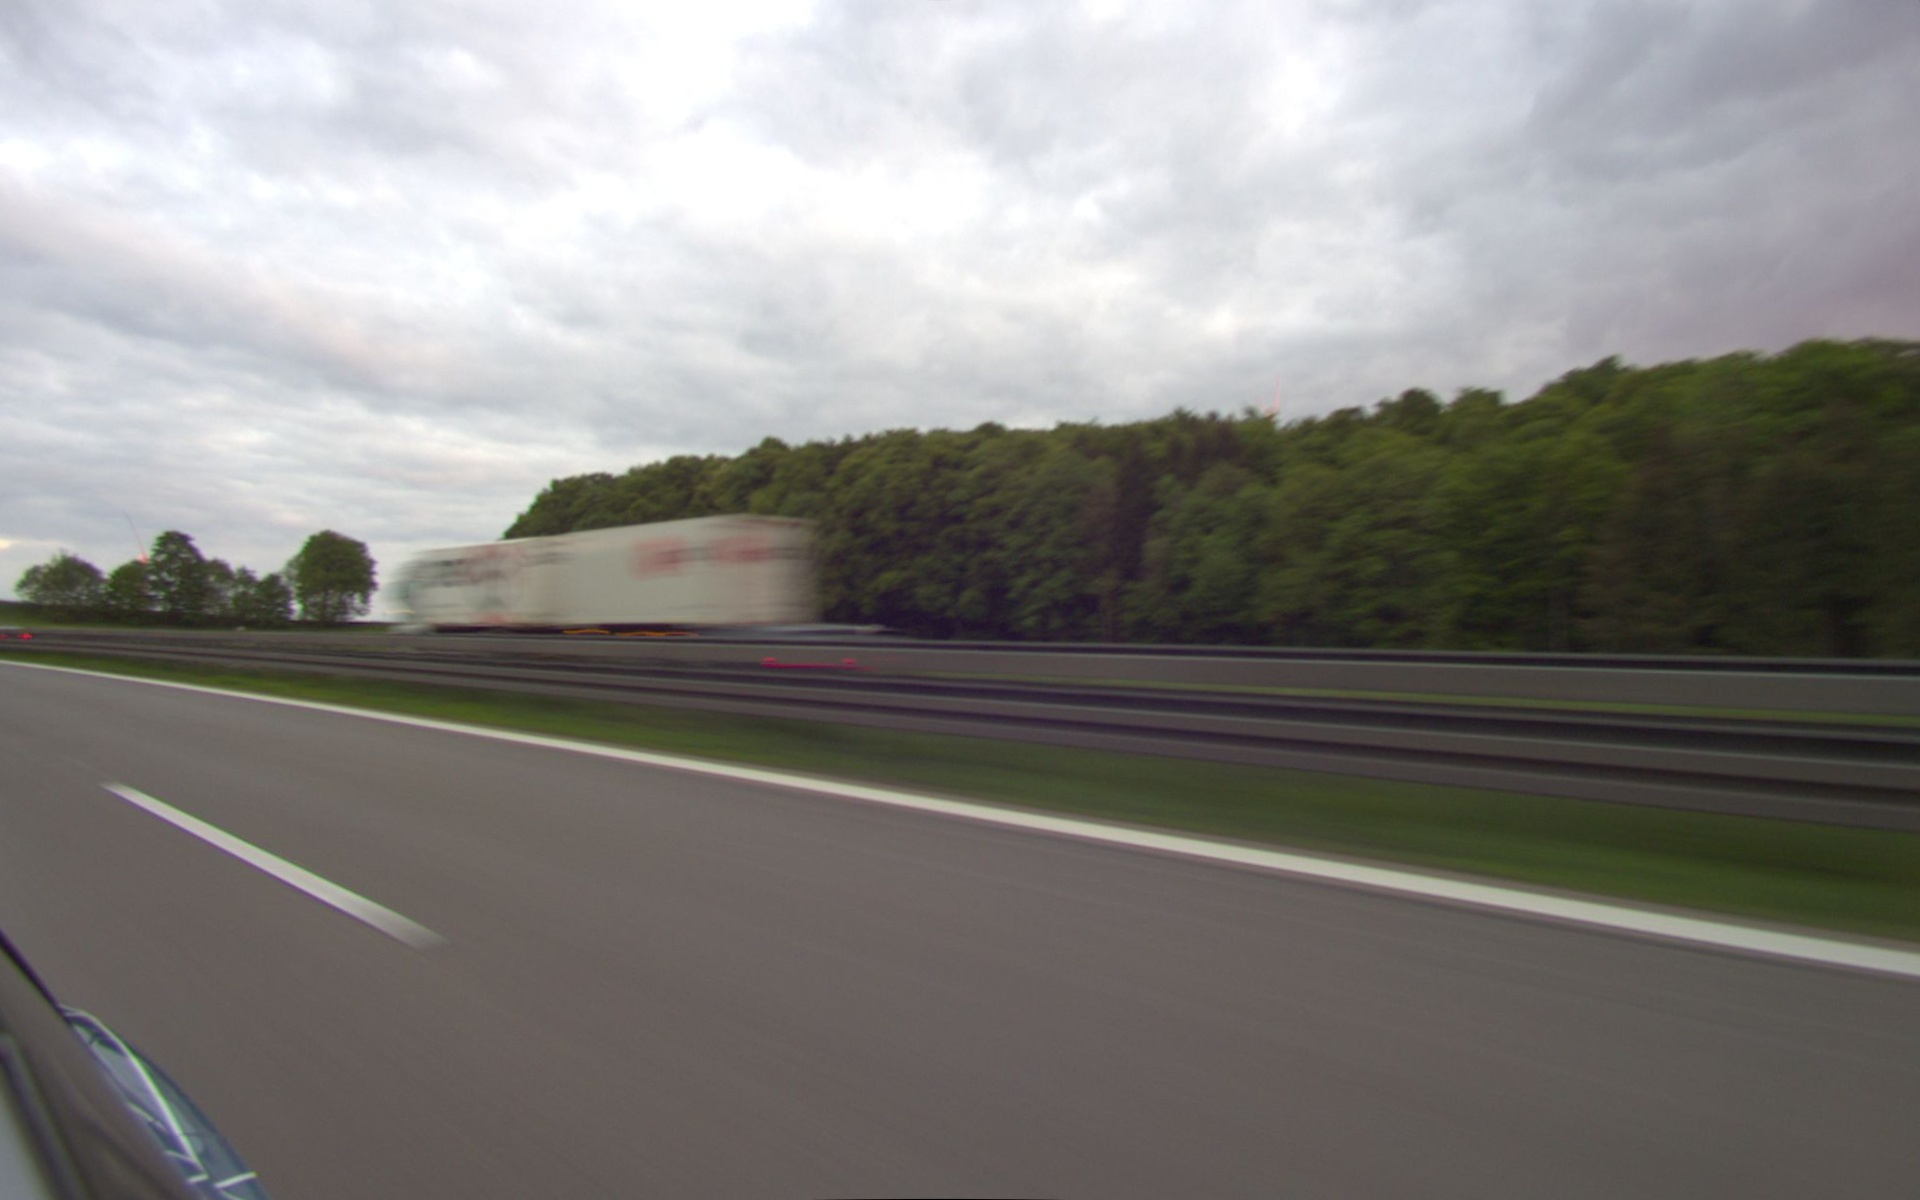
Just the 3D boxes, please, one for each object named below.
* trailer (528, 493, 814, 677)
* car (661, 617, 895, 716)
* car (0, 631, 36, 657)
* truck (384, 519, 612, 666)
[{"bbox_3d":[-8.245,-0.261,27.976,9.282,4.350,2.804,-1,-2,39],"label":"trailer"},{"bbox_3d":[-3.335,1.123,18.046,4.463,1.546,1.637,-1,-3,41],"label":"car"},{"bbox_3d":[-58.667,2.698,62.407,4.664,1.562,1.639,-1,-3,37],"label":"car"},{"bbox_3d":[-15.787,-0.109,34.084,10.055,4.313,2.836,-1,-2,39],"label":"truck"}]
